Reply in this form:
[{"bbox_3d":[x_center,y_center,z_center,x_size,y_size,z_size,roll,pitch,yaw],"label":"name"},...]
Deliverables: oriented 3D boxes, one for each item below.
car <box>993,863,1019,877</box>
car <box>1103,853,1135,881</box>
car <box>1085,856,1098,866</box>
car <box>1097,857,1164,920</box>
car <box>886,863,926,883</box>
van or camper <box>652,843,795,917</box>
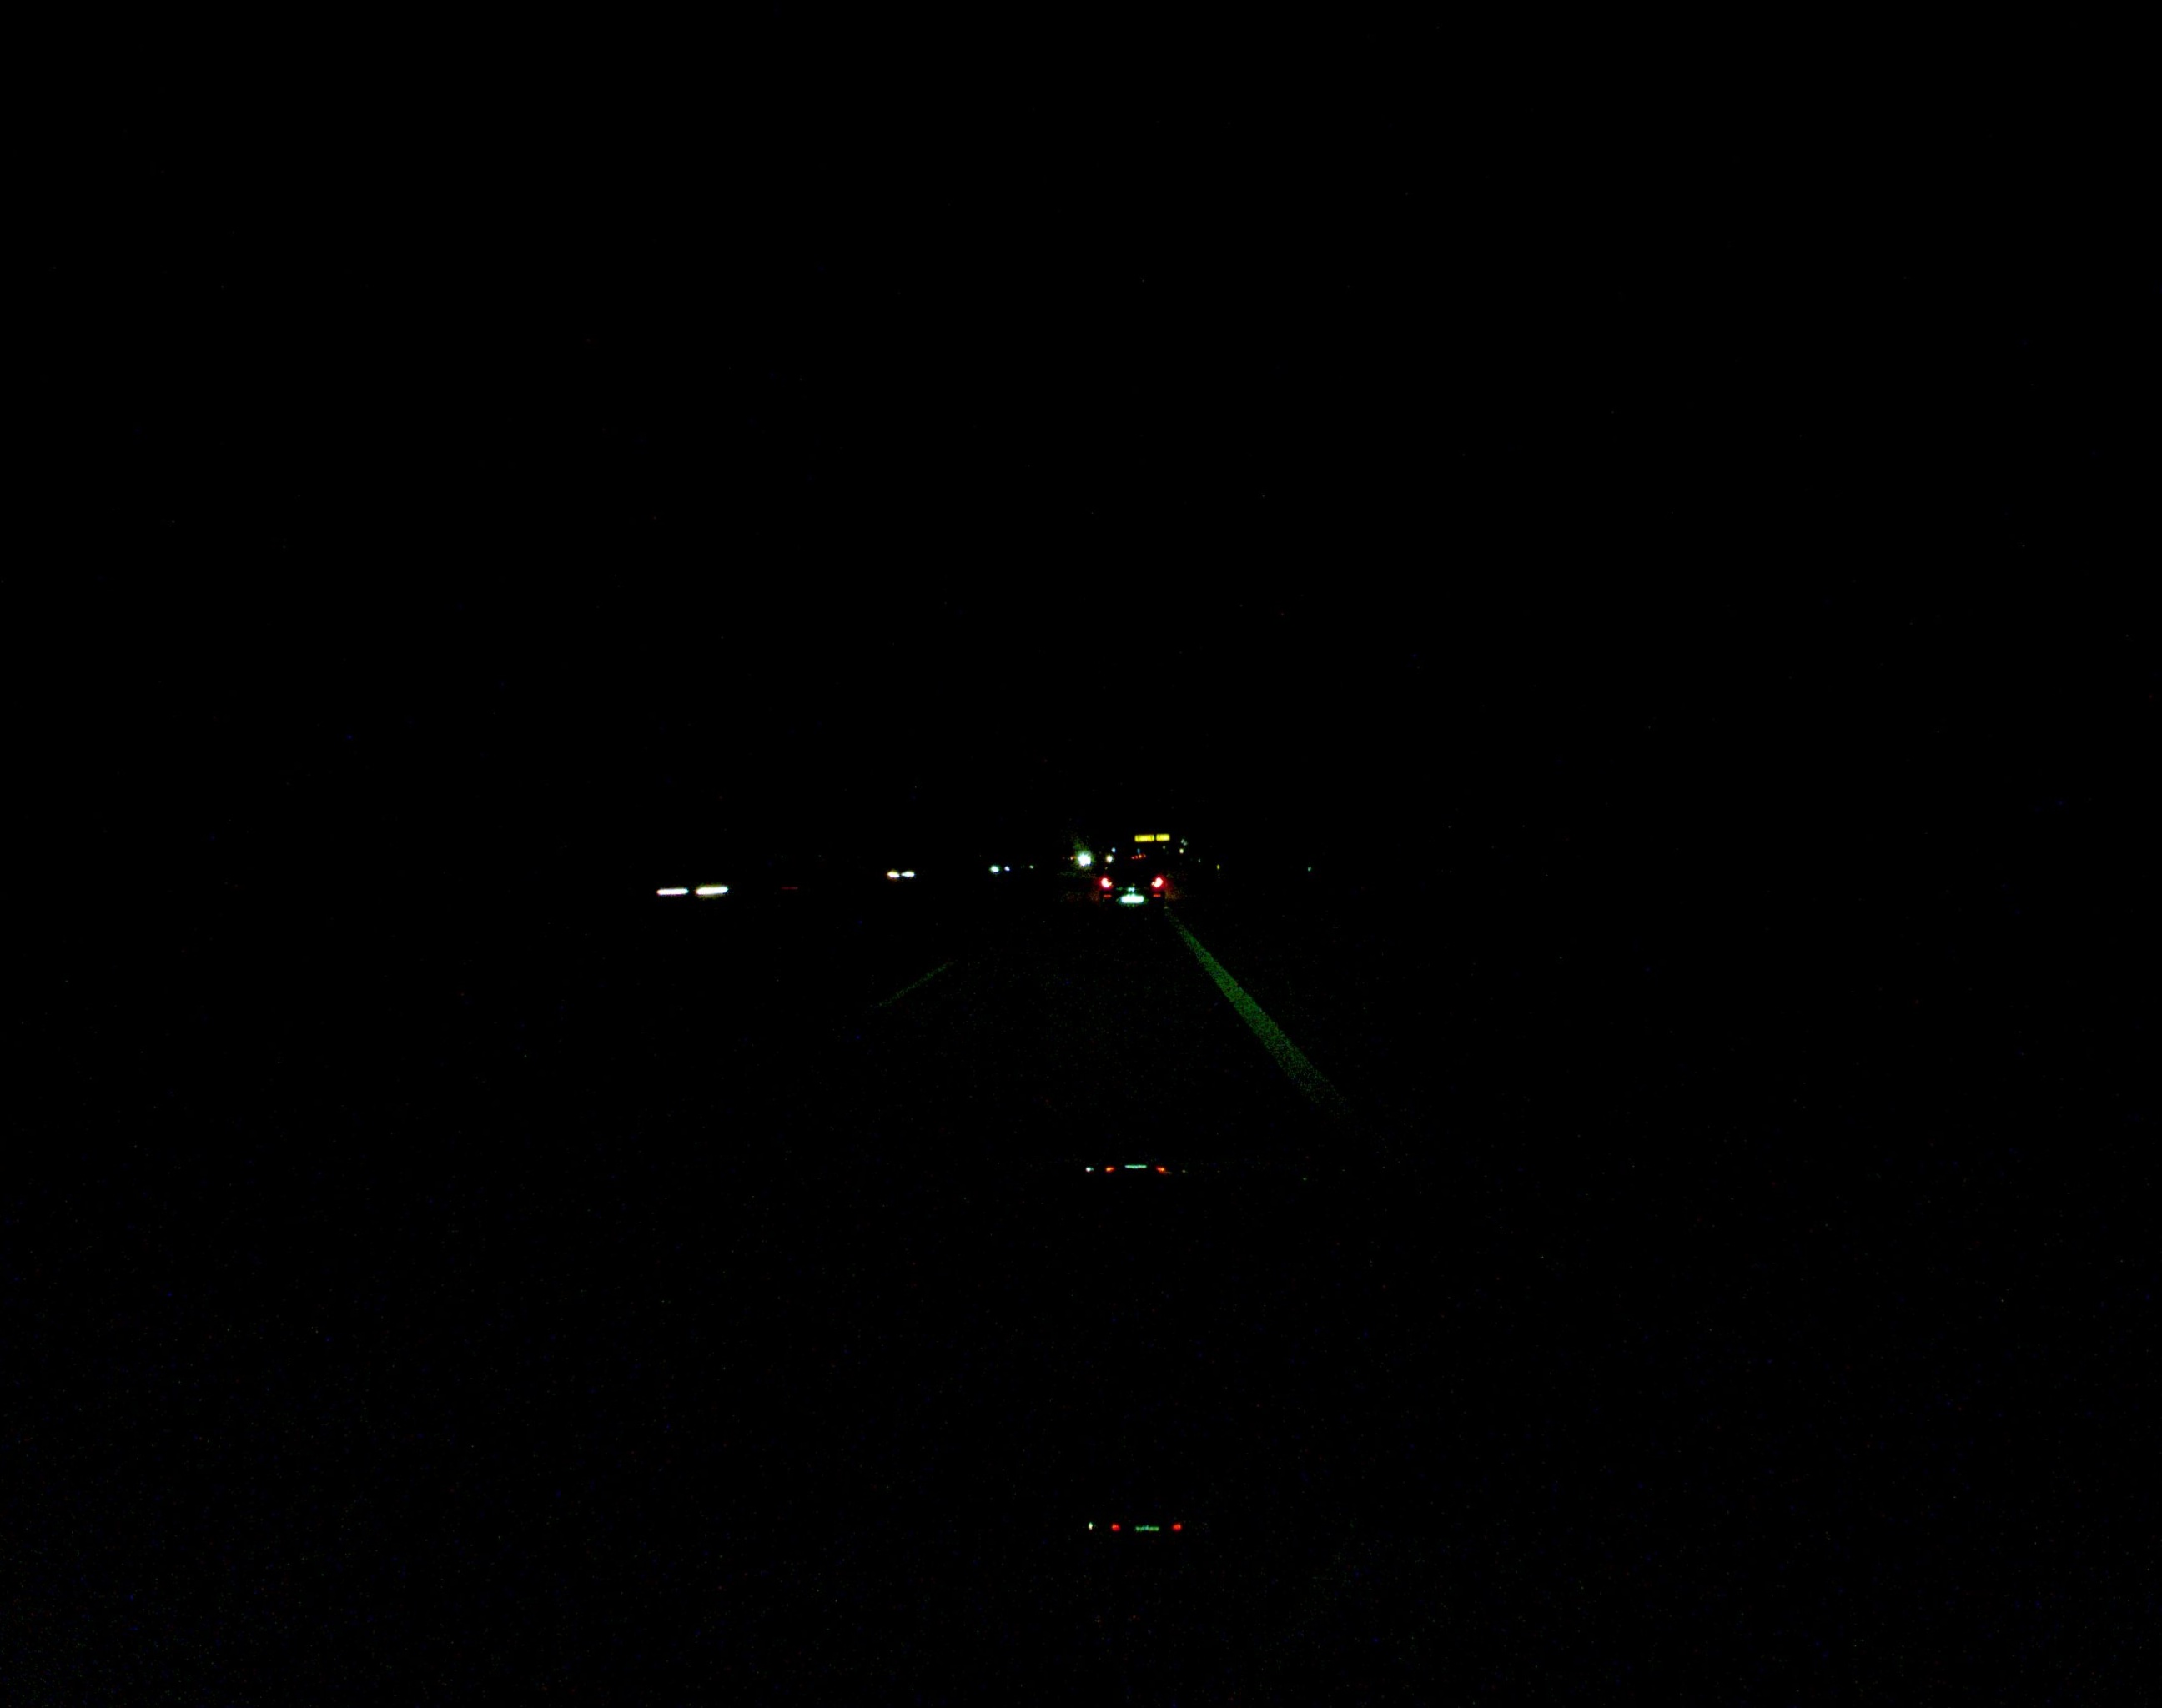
[{"bbox_3d":[-8.680,1.860,94.747,1.947,1.457,4.480,-3,0,7],"label":"car"},{"bbox_3d":[2.457,0.791,51.500,1.898,1.698,4.004,-1,0,4],"label":"car"},{"bbox_3d":[2.206,1.413,163.913,1.947,1.733,5.089,-3,0,7],"label":"car"},{"bbox_3d":[1.238,0.847,21.814,1.583,1.508,4.000,0,0,0],"label":"car"},{"bbox_3d":[-14.410,1.558,67.320,1.947,1.457,4.178,-3,0,7],"label":"car"},{"bbox_3d":[-14.410,0.969,33.578,2.286,2.617,7.667,-2,0,1],"label":"van or camper"}]
